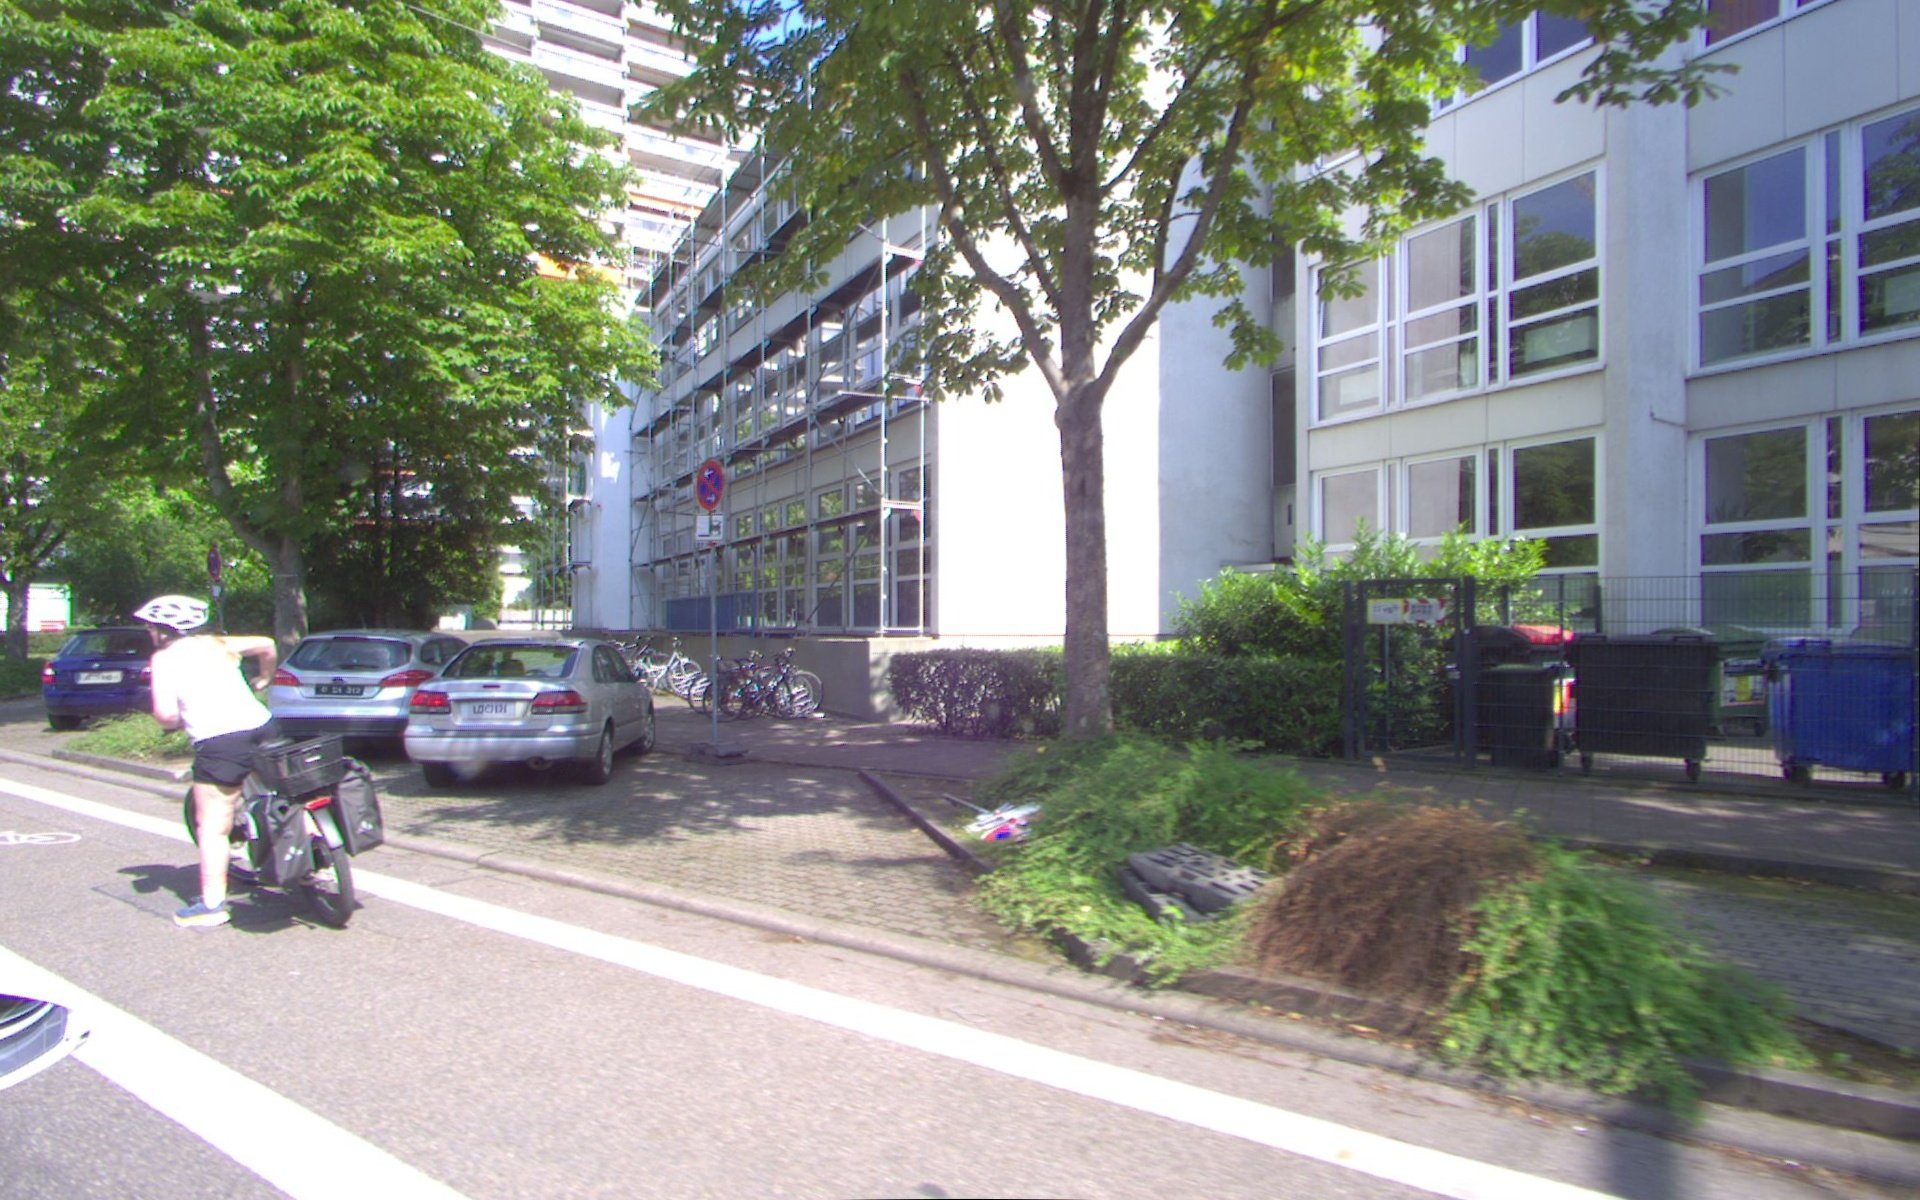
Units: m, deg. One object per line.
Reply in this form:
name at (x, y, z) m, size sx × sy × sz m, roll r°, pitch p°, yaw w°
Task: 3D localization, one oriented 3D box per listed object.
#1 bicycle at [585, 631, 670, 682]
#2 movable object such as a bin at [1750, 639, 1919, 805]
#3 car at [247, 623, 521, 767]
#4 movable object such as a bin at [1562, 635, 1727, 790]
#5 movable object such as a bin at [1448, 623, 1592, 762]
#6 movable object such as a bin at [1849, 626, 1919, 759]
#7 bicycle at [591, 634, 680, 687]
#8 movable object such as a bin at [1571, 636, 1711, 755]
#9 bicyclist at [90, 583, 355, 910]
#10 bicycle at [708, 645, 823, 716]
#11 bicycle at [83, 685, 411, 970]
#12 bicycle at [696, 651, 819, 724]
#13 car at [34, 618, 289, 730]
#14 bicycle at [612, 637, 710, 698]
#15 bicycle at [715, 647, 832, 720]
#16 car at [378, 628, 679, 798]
bicycle at (-7.606, 1.281, 22.911) m, size 1.805 × 1.110 × 0.449 m, roll 0°, pitch 0°, yaw -27°
movable object such as a bin at (7.994, 1.041, 8.908) m, size 1.339 × 1.352 × 1.274 m, roll -1°, pitch -3°, yaw 31°
car at (-6.900, 1.079, 12.467) m, size 1.621 × 1.493 × 3.805 m, roll 2°, pitch -2°, yaw -8°
movable object such as a bin at (6.527, 1.034, 9.653) m, size 1.218 × 1.352 × 1.274 m, roll -1°, pitch -3°, yaw 31°
movable object such as a bin at (6.454, 1.031, 11.547) m, size 1.250 × 1.500 × 0.932 m, roll 2°, pitch -1°, yaw -30°
movable object such as a bin at (11.458, 1.069, 11.775) m, size 1.362 × 1.466 × 1.254 m, roll -1°, pitch 1°, yaw -36°
bicycle at (-7.076, 1.307, 21.848) m, size 1.805 × 1.110 × 0.449 m, roll 1°, pitch 0°, yaw -27°
movable object such as a bin at (8.735, 1.175, 12.852) m, size 1.201 × 1.356 × 1.252 m, roll -1°, pitch 1°, yaw -42°
bicyclist at (-4.005, 0.726, 5.442) m, size 1.072 × 1.548 × 0.886 m, roll -1°, pitch -3°, yaw 39°
bicycle at (-3.315, 1.353, 17.147) m, size 1.873 × 1.110 × 0.449 m, roll 0°, pitch 1°, yaw -27°
bicycle at (-3.858, 1.068, 5.348) m, size 2.110 × 1.140 × 0.872 m, roll -1°, pitch -3°, yaw 39°
bicycle at (-3.242, 1.386, 16.093) m, size 1.873 × 1.067 × 0.449 m, roll 0°, pitch 1°, yaw -27°
car at (-12.492, 1.066, 16.008) m, size 1.586 × 1.505 × 3.995 m, roll 0°, pitch 0°, yaw -13°
bicycle at (-5.909, 1.312, 19.839) m, size 1.804 × 1.111 × 0.449 m, roll 0°, pitch 3°, yaw -27°
bicycle at (-3.097, 1.365, 16.698) m, size 1.873 × 1.110 × 0.449 m, roll 0°, pitch 1°, yaw -27°
car at (-4.325, 1.043, 10.801) m, size 1.690 × 1.438 × 4.243 m, roll 1°, pitch -1°, yaw -5°
